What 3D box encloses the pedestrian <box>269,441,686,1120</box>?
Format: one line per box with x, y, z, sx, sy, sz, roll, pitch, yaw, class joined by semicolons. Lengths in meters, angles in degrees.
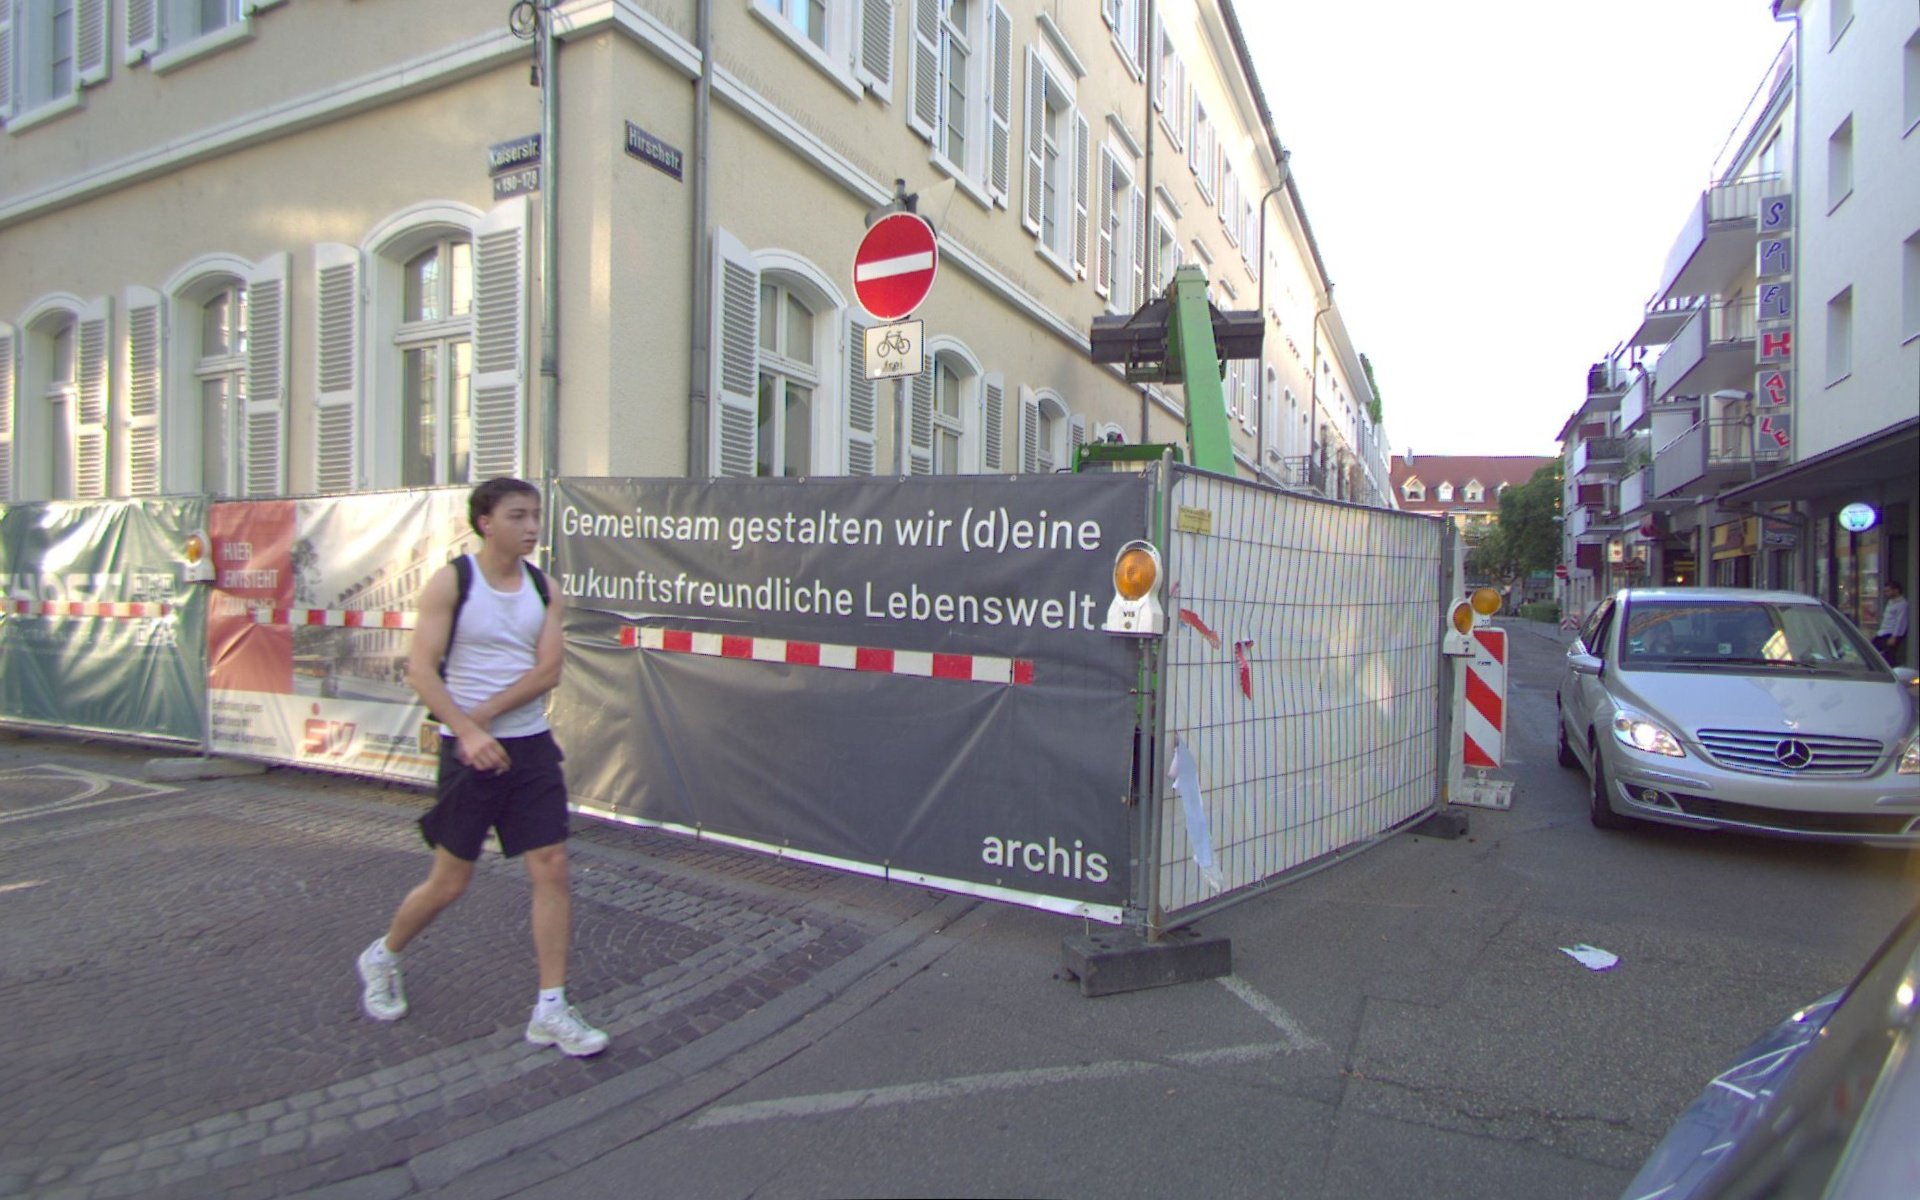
-1.604;0.444;3.349;1.067;1.841;0.795;6;4;36;pedestrian

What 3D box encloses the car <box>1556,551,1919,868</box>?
5.615;0.597;7.398;1.788;1.637;4.233;2;0;26;car

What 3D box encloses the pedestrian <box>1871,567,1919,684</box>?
15.301;0.413;16.447;0.525;1.857;0.559;1;0;21;pedestrian

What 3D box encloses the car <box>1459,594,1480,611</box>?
43.896;0.196;87.192;1.525;1.342;3.323;1;1;26;car

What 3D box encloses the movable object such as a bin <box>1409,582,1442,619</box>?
34.733;0.058;75.449;2.002;2.657;5.696;-1;-1;27;movable object such as a bin

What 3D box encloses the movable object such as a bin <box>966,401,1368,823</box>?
2.208;0.033;9.476;2.588;2.874;4.409;2;1;27;movable object such as a bin

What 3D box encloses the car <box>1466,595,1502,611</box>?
57.675;0.324;111.454;1.795;1.486;4.326;2;3;4;car

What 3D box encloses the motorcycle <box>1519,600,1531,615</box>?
55.815;0.730;99.994;0.854;1.370;1.934;1;0;35;motorcycle
